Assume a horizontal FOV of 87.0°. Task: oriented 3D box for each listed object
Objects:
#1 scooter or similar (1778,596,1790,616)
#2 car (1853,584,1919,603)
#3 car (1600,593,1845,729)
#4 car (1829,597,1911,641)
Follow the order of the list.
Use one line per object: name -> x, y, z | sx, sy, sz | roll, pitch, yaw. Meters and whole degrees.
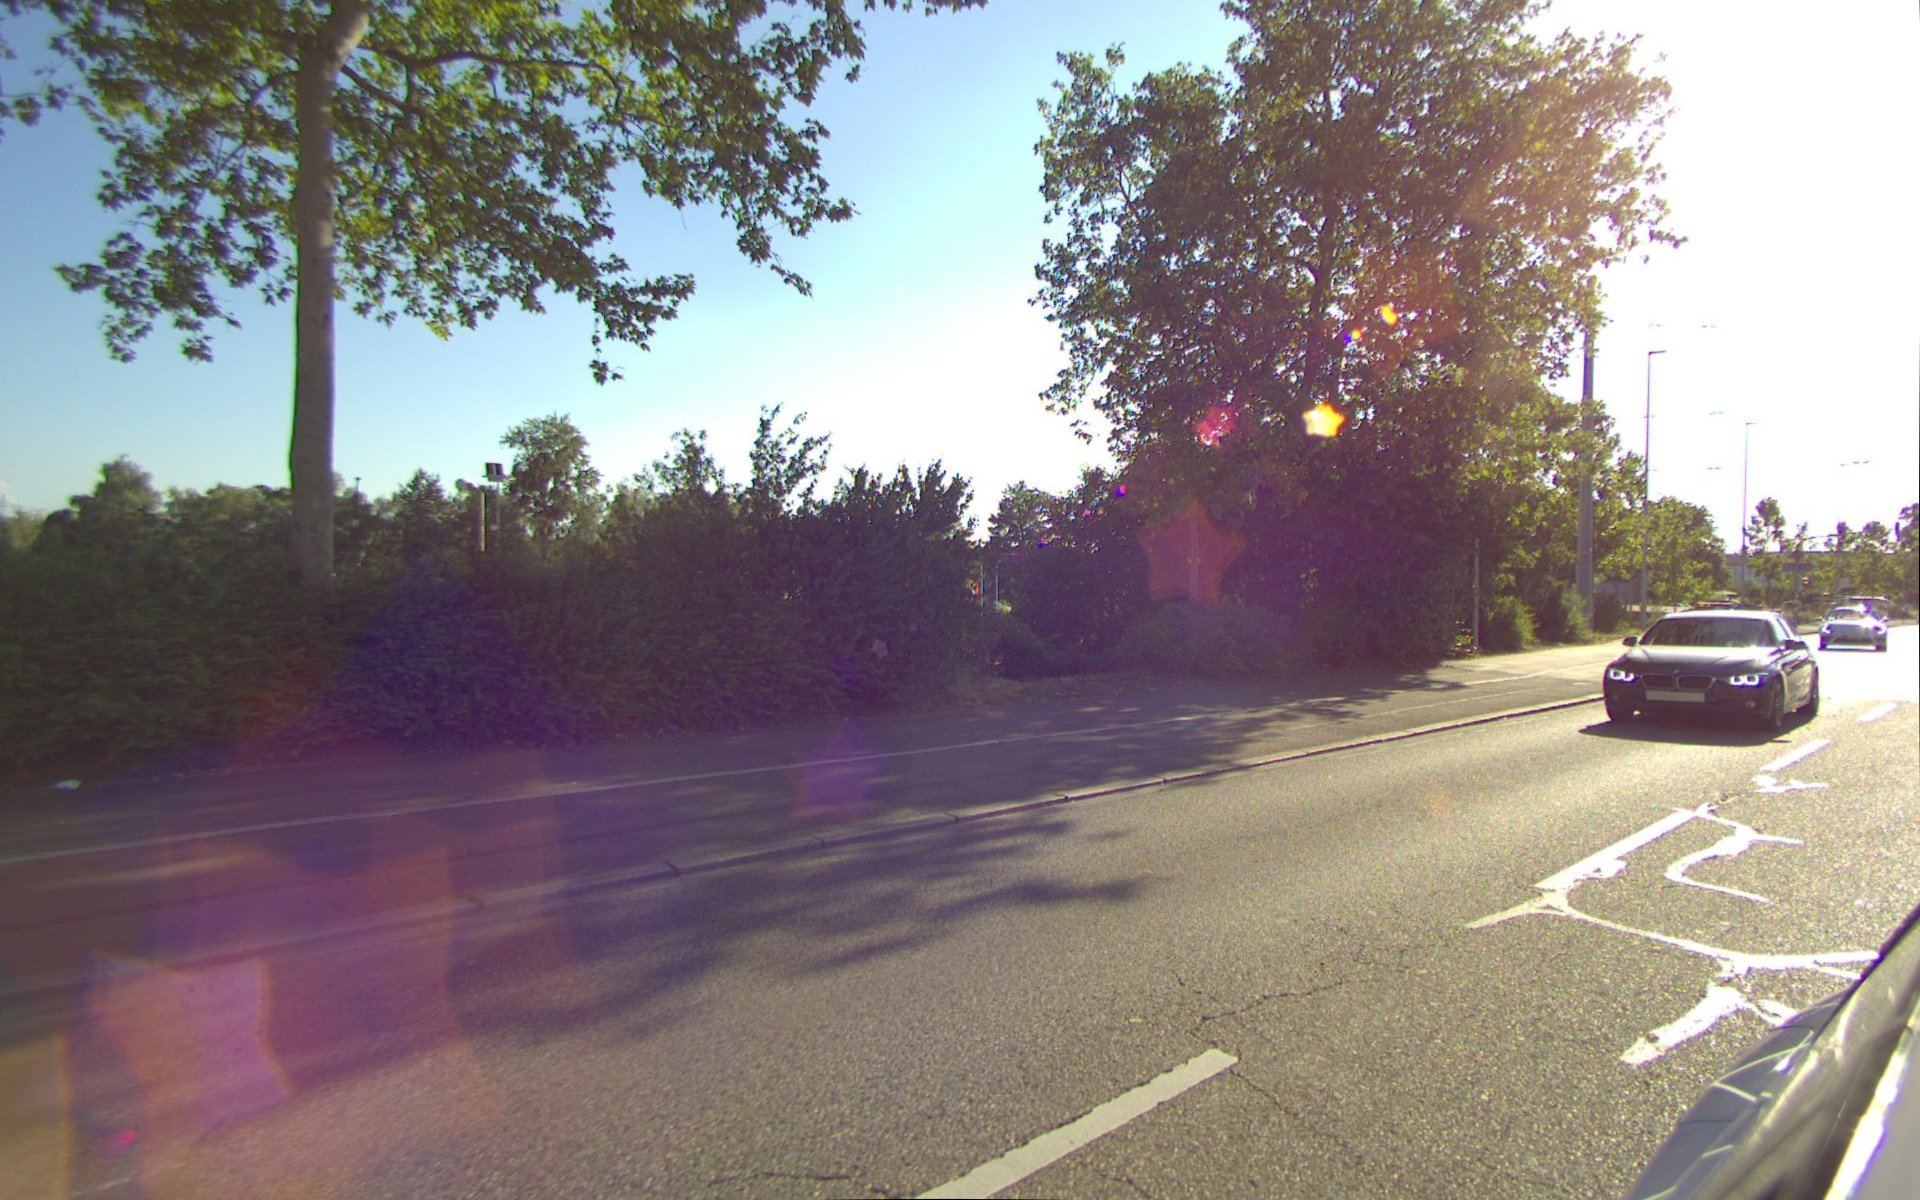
scooter or similar -> 54.273, 0.387, 66.666 | 0.522, 1.246, 1.250 | 2, 2, 37
car -> 105.209, -0.710, 114.957 | 2.067, 2.048, 5.344 | 0, -1, -41
car -> 10.370, 0.672, 13.626 | 4.509, 1.485, 1.868 | -1, 1, -43
car -> 31.791, 0.620, 35.326 | 3.913, 1.441, 1.854 | 0, 1, -43
